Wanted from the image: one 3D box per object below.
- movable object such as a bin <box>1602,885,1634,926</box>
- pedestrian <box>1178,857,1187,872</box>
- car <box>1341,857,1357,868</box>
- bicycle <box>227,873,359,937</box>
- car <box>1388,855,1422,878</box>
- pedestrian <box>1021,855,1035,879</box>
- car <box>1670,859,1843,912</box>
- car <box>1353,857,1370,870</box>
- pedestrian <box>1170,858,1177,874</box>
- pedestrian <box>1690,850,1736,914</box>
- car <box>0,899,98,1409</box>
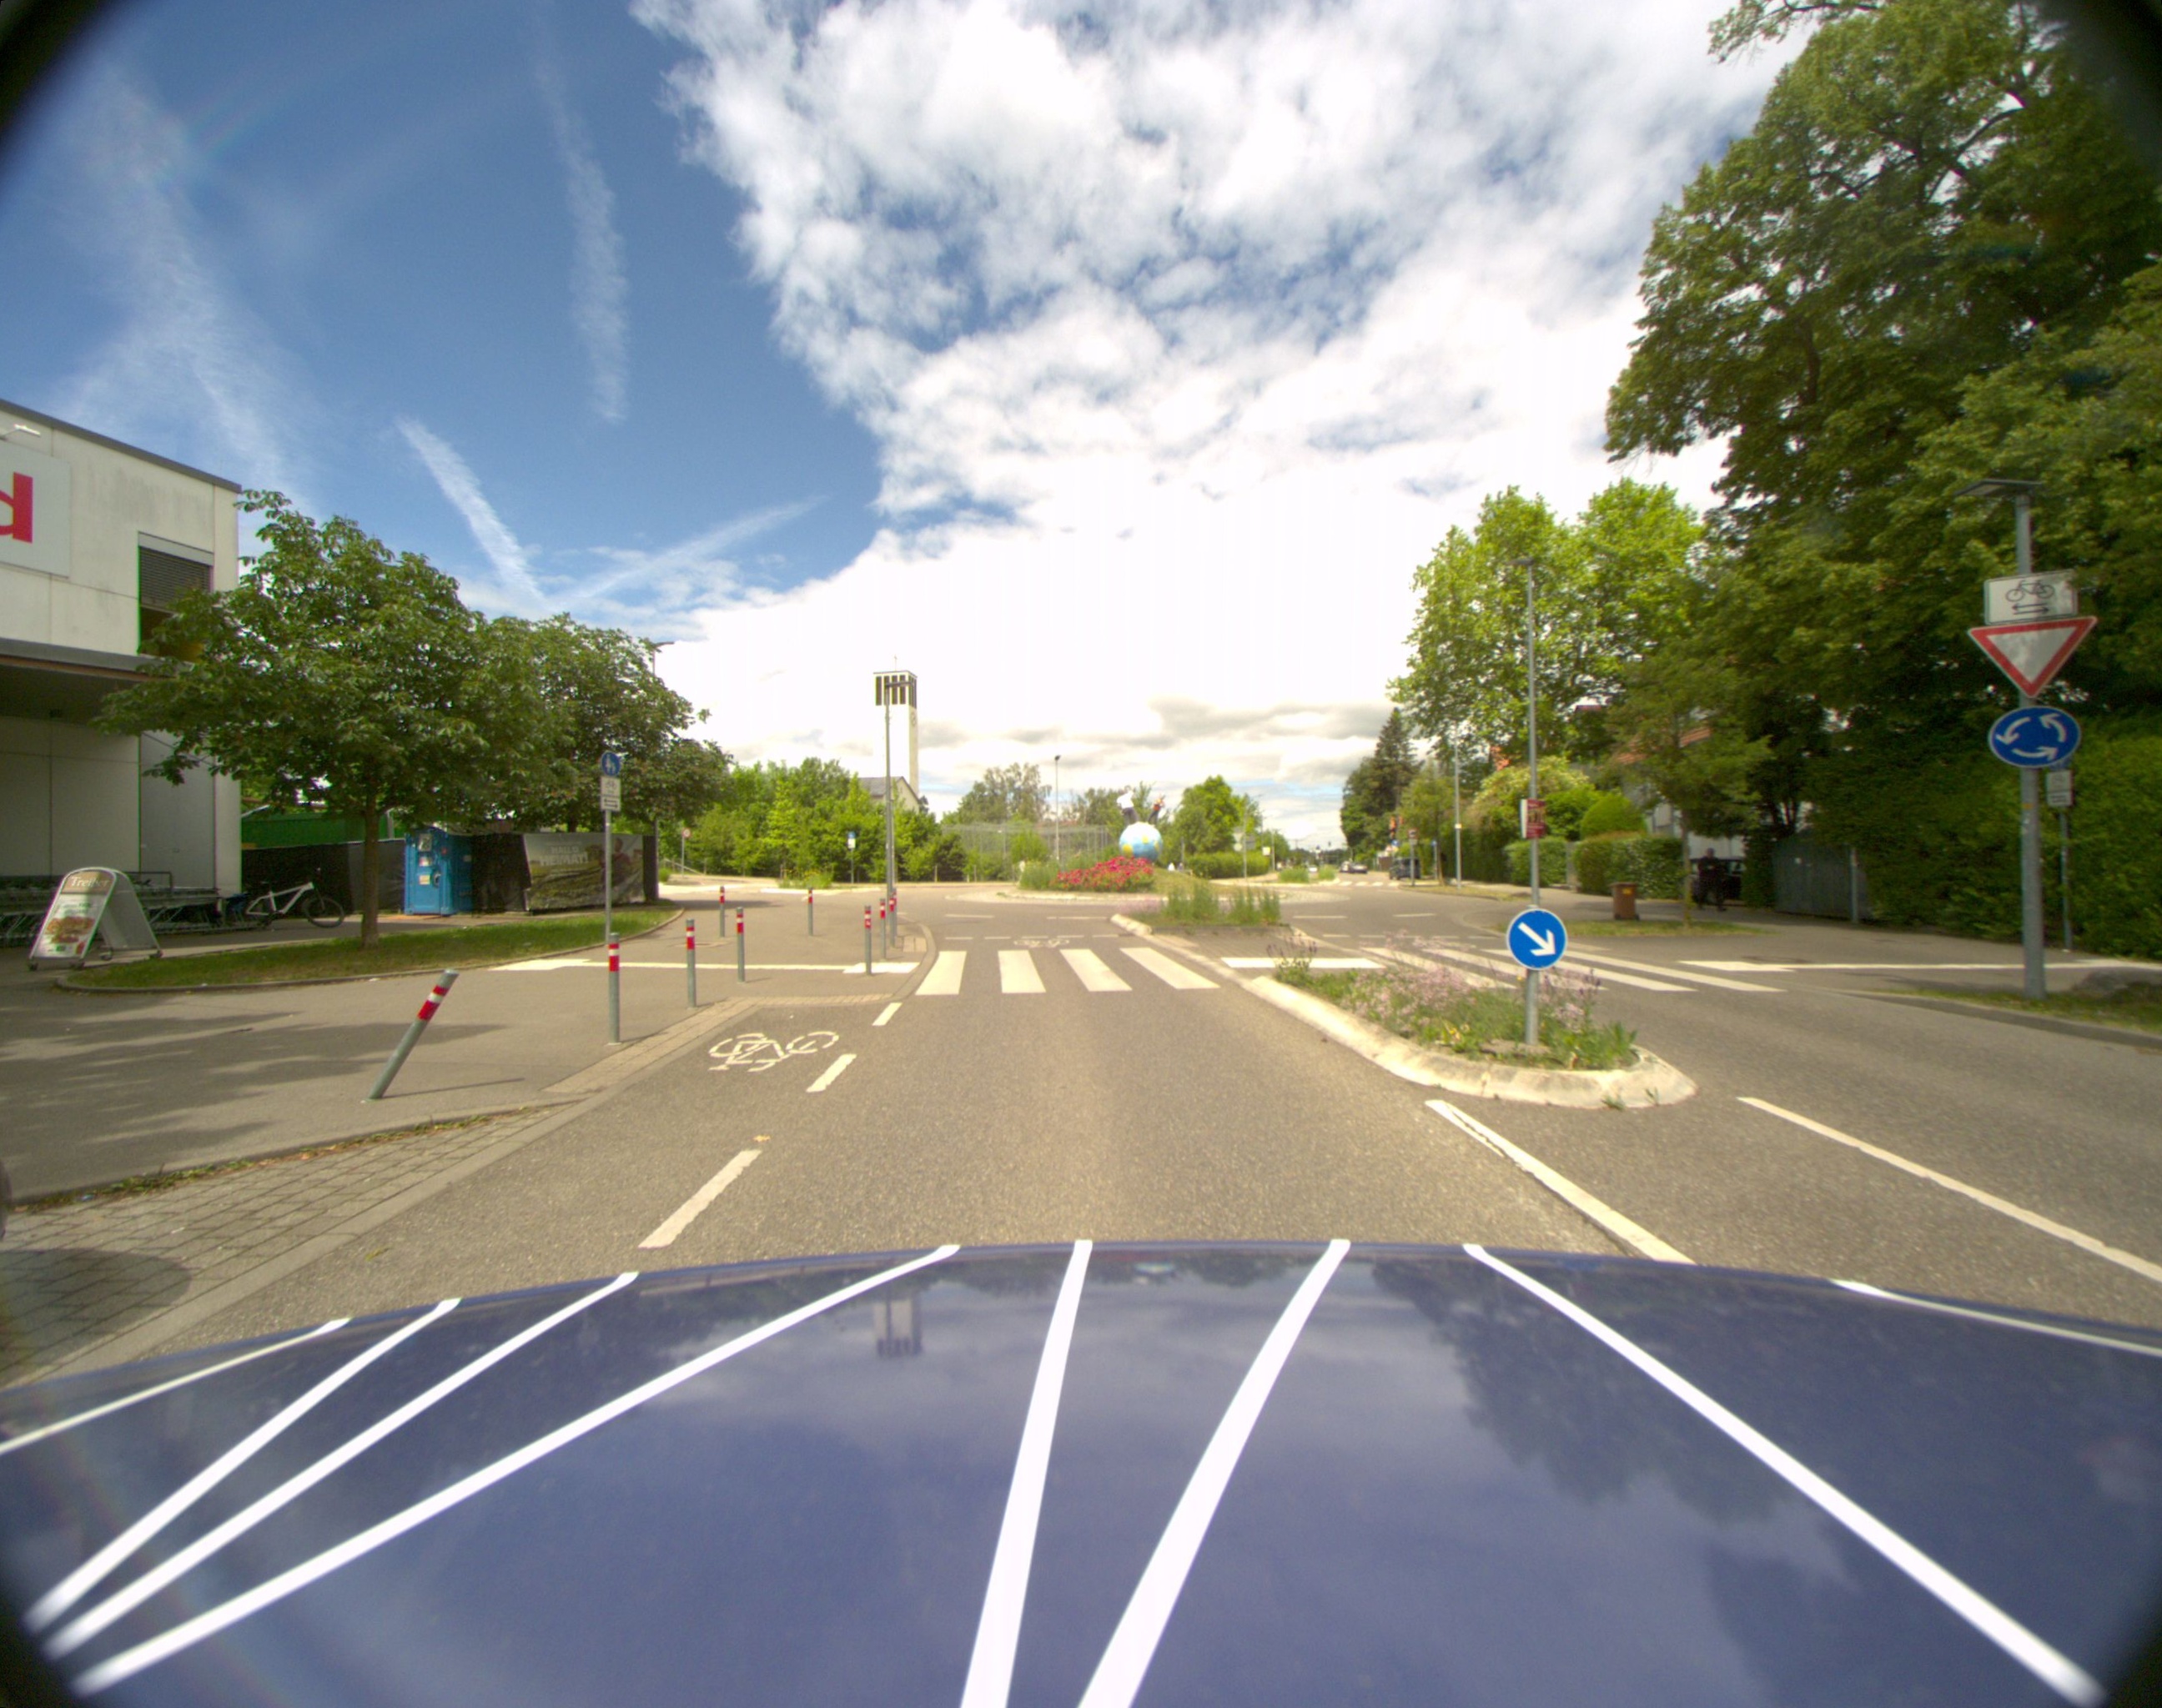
[{"bbox_3d":[12.695,1.204,17.961,0.441,0.929,0.411,0,1,-12],"label":"movable object such as a bin"},{"bbox_3d":[10.416,1.051,78.018,0.765,1.548,0.601,0,1,-14],"label":"pedestrian"},{"bbox_3d":[44.182,1.352,125.469,1.996,1.696,4.004,0,0,12],"label":"car"},{"bbox_3d":[-16.476,1.039,15.936,1.774,1.227,0.714,-2,0,-17],"label":"bicycle"},{"bbox_3d":[24.687,0.909,57.921,1.679,1.652,4.004,0,0,13],"label":"car"},{"bbox_3d":[-3.389,0.840,48.594,0.457,1.524,0.965,-1,0,24],"label":"pedestrian"},{"bbox_3d":[20.718,0.942,23.477,3.571,1.389,1.667,2,1,17],"label":"car"},{"bbox_3d":[35.273,1.197,95.609,1.860,1.568,4.005,-1,0,17],"label":"car"},{"bbox_3d":[9.479,1.219,77.837,0.608,1.687,0.566,-1,0,-7],"label":"pedestrian"},{"bbox_3d":[17.047,0.756,20.511,0.744,1.681,0.695,-1,1,18],"label":"pedestrian"},{"bbox_3d":[-4.521,0.948,0.458,1.920,1.569,4.431,0,0,6],"label":"car"}]
